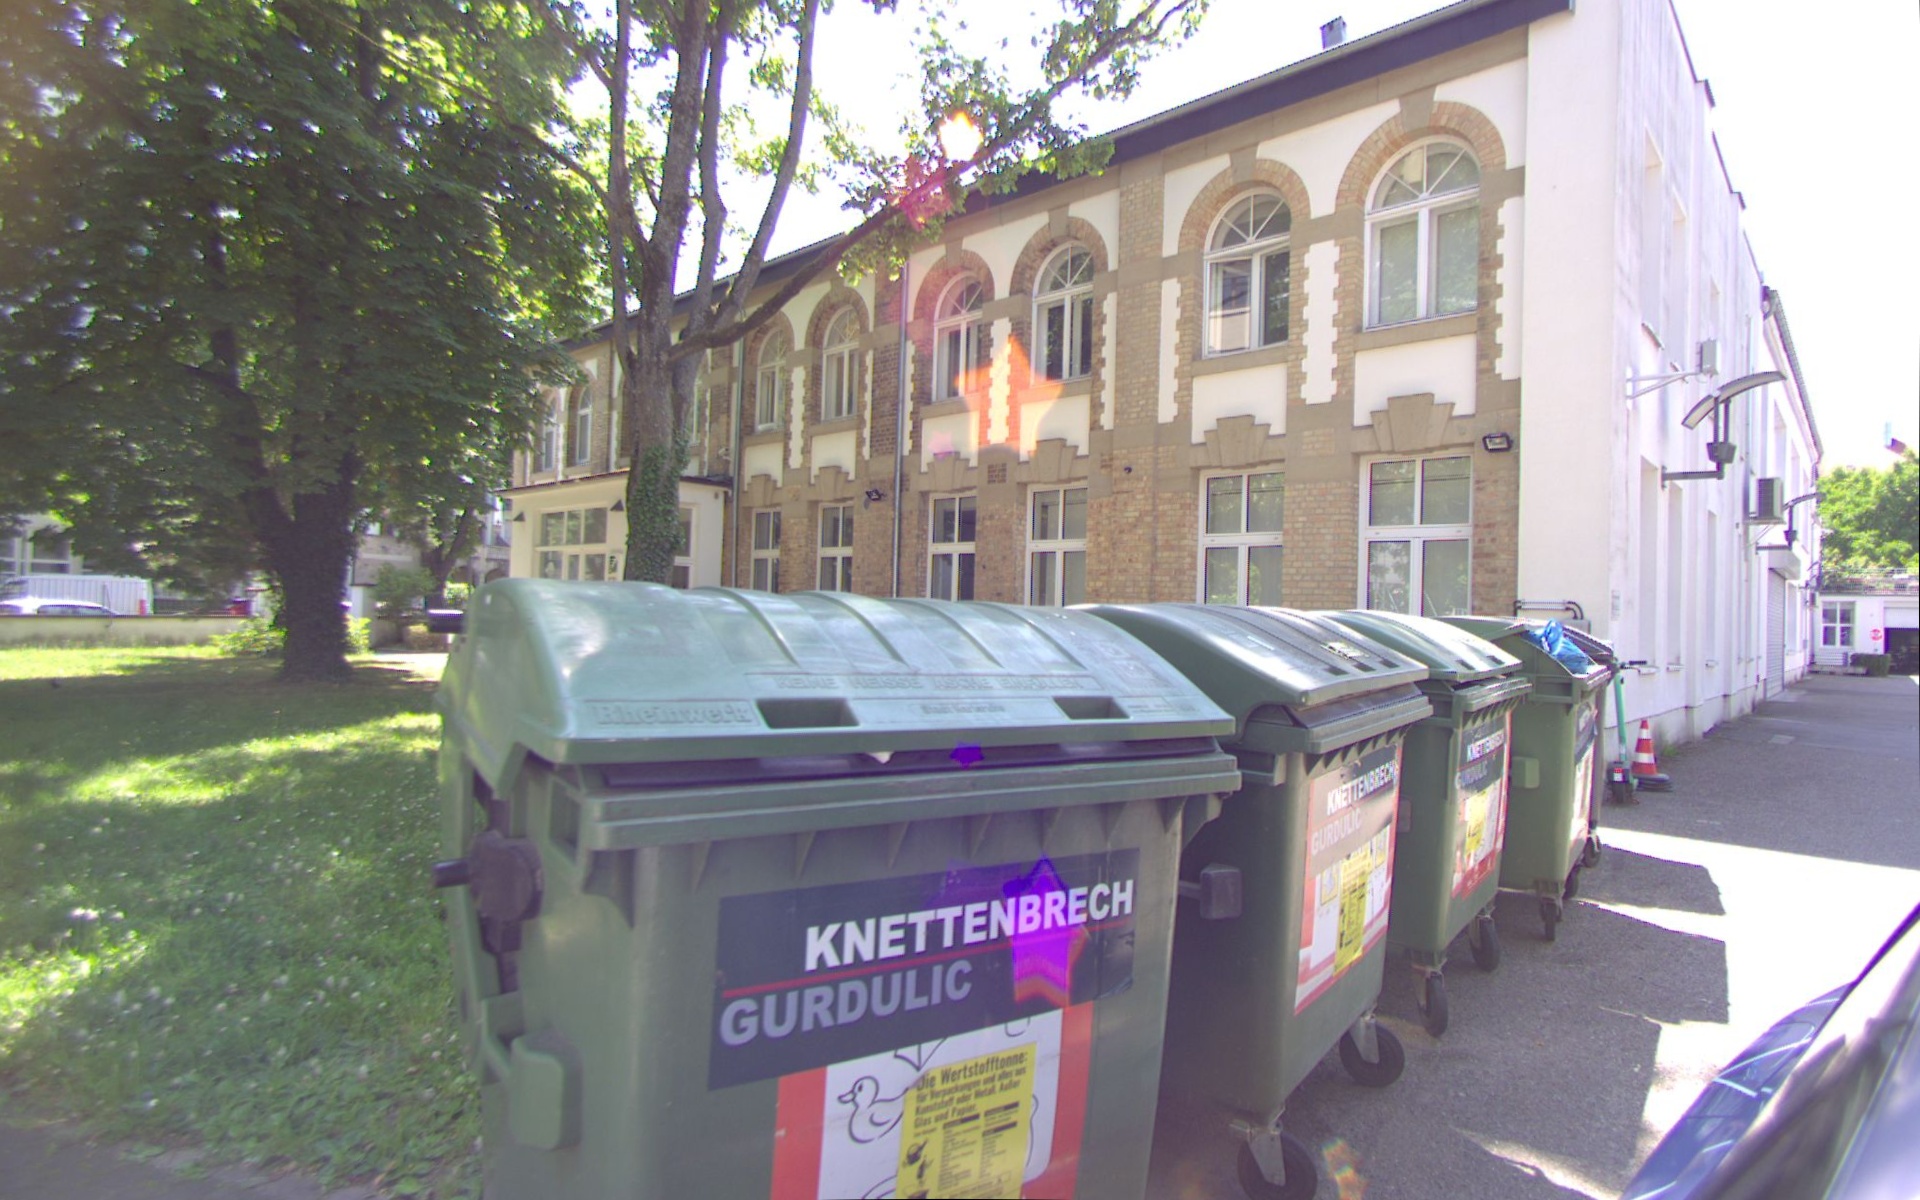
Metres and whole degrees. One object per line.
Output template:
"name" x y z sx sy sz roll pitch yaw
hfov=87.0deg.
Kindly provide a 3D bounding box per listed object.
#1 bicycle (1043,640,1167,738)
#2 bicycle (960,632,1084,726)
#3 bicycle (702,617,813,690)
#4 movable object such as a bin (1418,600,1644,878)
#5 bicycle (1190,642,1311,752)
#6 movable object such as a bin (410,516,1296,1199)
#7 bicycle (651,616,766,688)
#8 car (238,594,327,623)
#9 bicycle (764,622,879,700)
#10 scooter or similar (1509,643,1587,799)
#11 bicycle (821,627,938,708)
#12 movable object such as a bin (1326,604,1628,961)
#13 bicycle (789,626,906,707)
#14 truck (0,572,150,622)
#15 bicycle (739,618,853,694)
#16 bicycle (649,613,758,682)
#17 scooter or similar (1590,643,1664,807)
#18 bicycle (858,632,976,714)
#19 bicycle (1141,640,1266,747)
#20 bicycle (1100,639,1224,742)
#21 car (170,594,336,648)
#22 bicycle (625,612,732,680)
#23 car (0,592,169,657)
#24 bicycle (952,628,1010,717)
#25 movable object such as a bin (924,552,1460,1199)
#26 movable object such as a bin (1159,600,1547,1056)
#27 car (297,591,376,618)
"bicycle" 1.783 1.035 12.202 0.503 1.081 1.806 0 -2 44
"bicycle" 0.832 0.997 13.072 0.521 1.117 1.806 0 -2 44
"bicycle" -3.395 0.883 17.083 0.588 1.157 1.812 0 -1 44
"movable object such as a bin" 3.696 0.770 6.511 1.151 1.524 1.445 0 -1 34
"bicycle" 3.173 1.007 10.940 0.453 1.081 1.806 0 -2 44
"movable object such as a bin" -0.249 0.655 1.977 1.308 1.488 1.182 1 -1 -36
"bicycle" -4.253 0.873 17.222 1.810 1.157 0.588 2 -1 -42
"car" -32.547 0.406 48.689 3.270 1.307 1.501 1 -1 -18
"bicycle" -2.155 0.935 15.922 0.588 1.157 1.812 0 -1 44
"scooter or similar" 5.004 0.984 8.657 0.460 1.189 1.245 1 -1 25
"bicycle" -1.162 0.966 14.913 0.521 1.114 1.812 0 -1 44
"movable object such as a bin" 2.653 0.774 5.145 1.176 1.488 1.294 0 -1 37
"bicycle" -1.692 0.985 15.486 0.588 1.157 1.812 0 -1 44
"truck" -34.520 -0.092 39.305 4.553 1.856 1.657 1 0 -33
"bicycle" -2.631 0.882 16.360 0.588 1.157 1.812 0 -1 44
"bicycle" -4.529 0.832 17.941 0.588 1.157 1.812 0 -1 44
"scooter or similar" 5.482 0.971 8.312 0.462 1.189 1.340 1 -1 34
"bicycle" -0.588 1.007 14.398 0.521 1.084 1.806 0 -1 44
"bicycle" 2.745 1.001 11.301 0.503 1.081 1.806 0 -2 44
"bicycle" 2.365 1.005 11.722 0.503 1.081 1.806 0 -2 44
"car" -21.130 0.603 30.423 1.682 1.483 3.918 1 0 15
"bicycle" -5.094 0.822 18.429 0.588 1.157 1.812 0 -1 44
"car" -22.590 0.581 25.535 1.682 1.483 3.918 1 0 15
"bicycle" 0.312 0.960 13.954 0.465 1.117 1.828 2 -1 11
"movable object such as a bin" 0.754 0.639 3.101 1.176 1.488 1.294 0 -1 38
"movable object such as a bin" 1.661 0.752 4.208 1.177 1.488 1.293 0 -1 39
"car" -31.697 0.216 51.531 3.272 1.307 1.500 1 -1 -26
